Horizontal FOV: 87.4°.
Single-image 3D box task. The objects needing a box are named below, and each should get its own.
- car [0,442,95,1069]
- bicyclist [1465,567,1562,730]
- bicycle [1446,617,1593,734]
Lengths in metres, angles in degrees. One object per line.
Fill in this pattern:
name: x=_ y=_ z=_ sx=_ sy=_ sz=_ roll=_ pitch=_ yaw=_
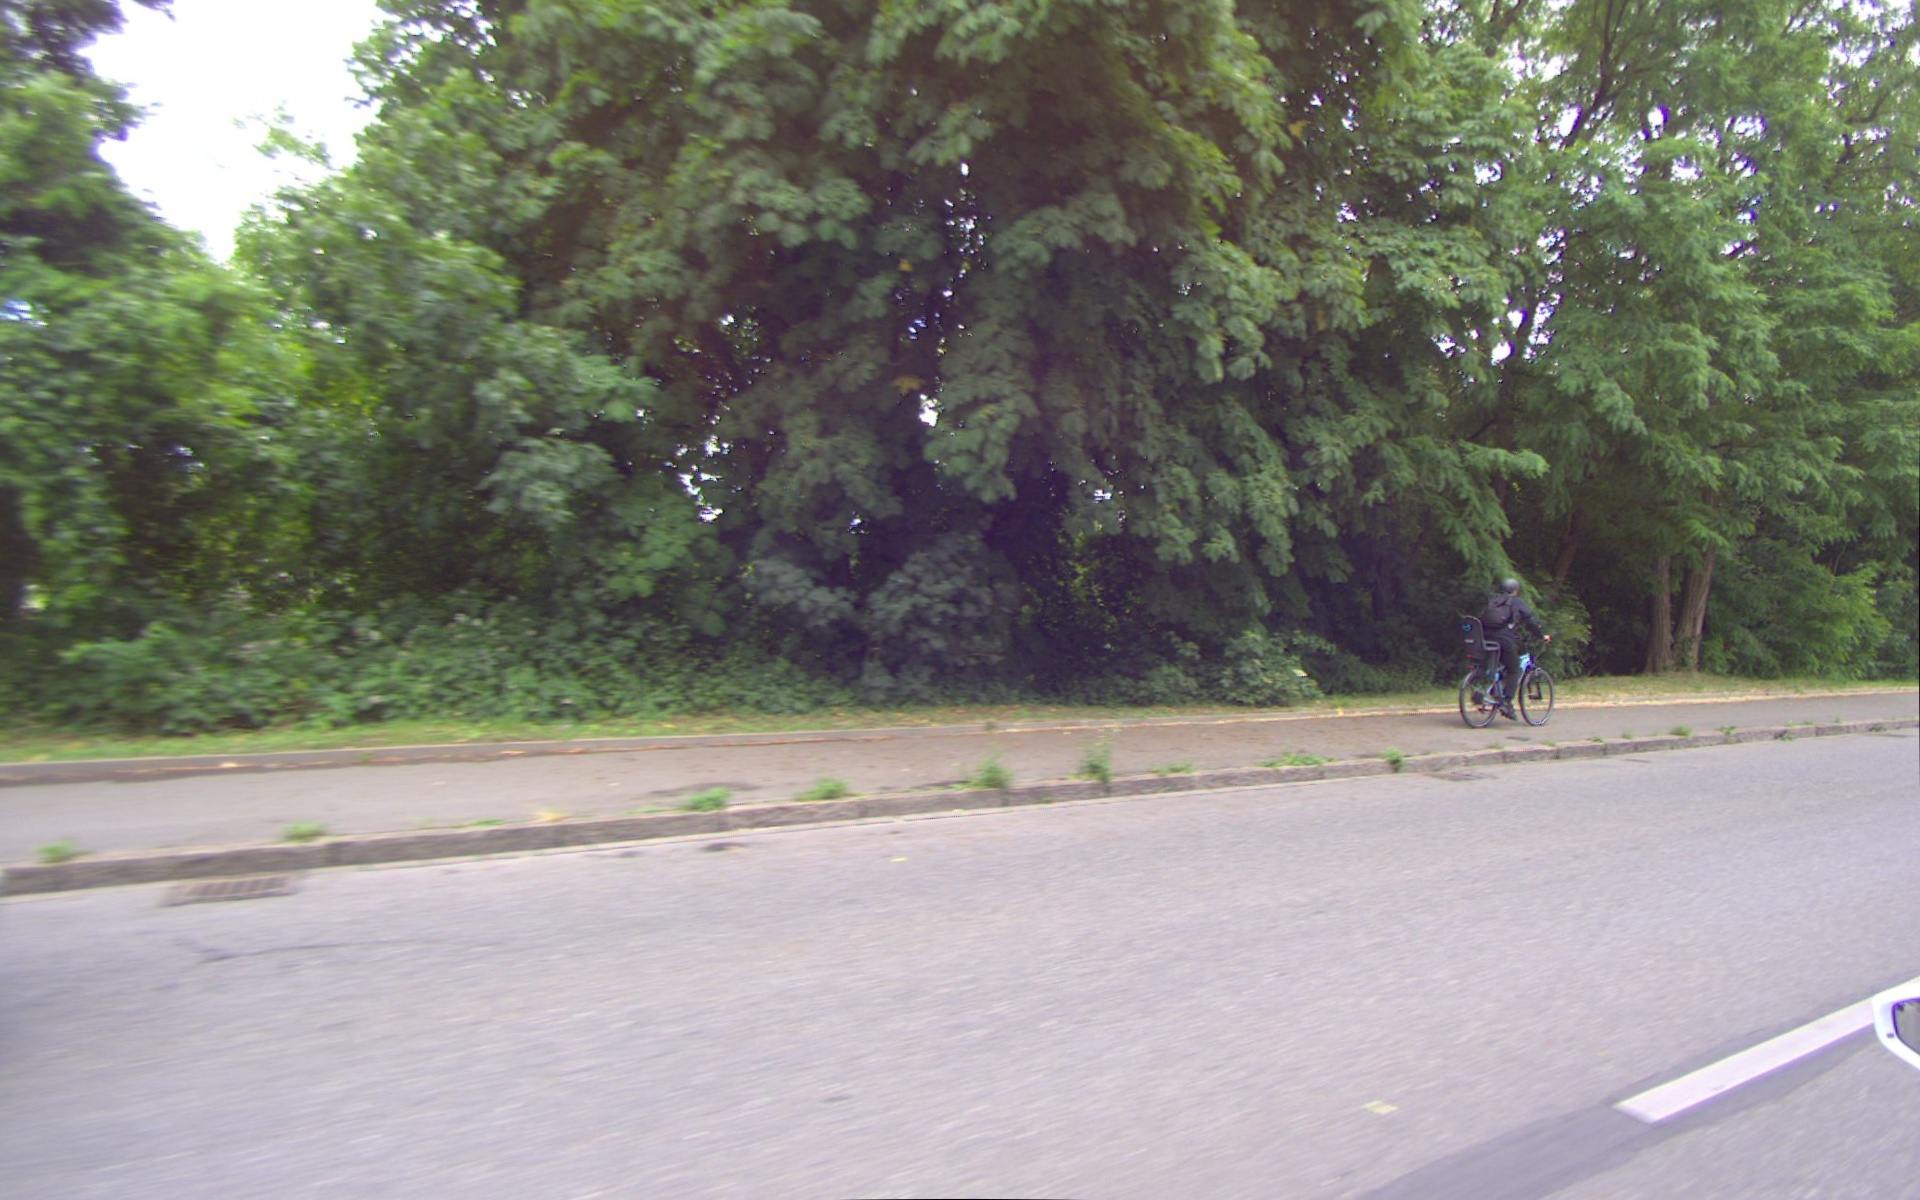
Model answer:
car: x=-4.758 y=0.417 z=1.839 sx=4.504 sy=1.823 sz=1.847 roll=1 pitch=-1 yaw=-31
bicyclist: x=6.979 y=0.593 z=12.672 sx=0.827 sy=1.974 sz=0.682 roll=2 pitch=2 yaw=-35
bicycle: x=7.181 y=0.924 z=12.847 sx=2.258 sy=1.349 sz=0.694 roll=1 pitch=2 yaw=-35
